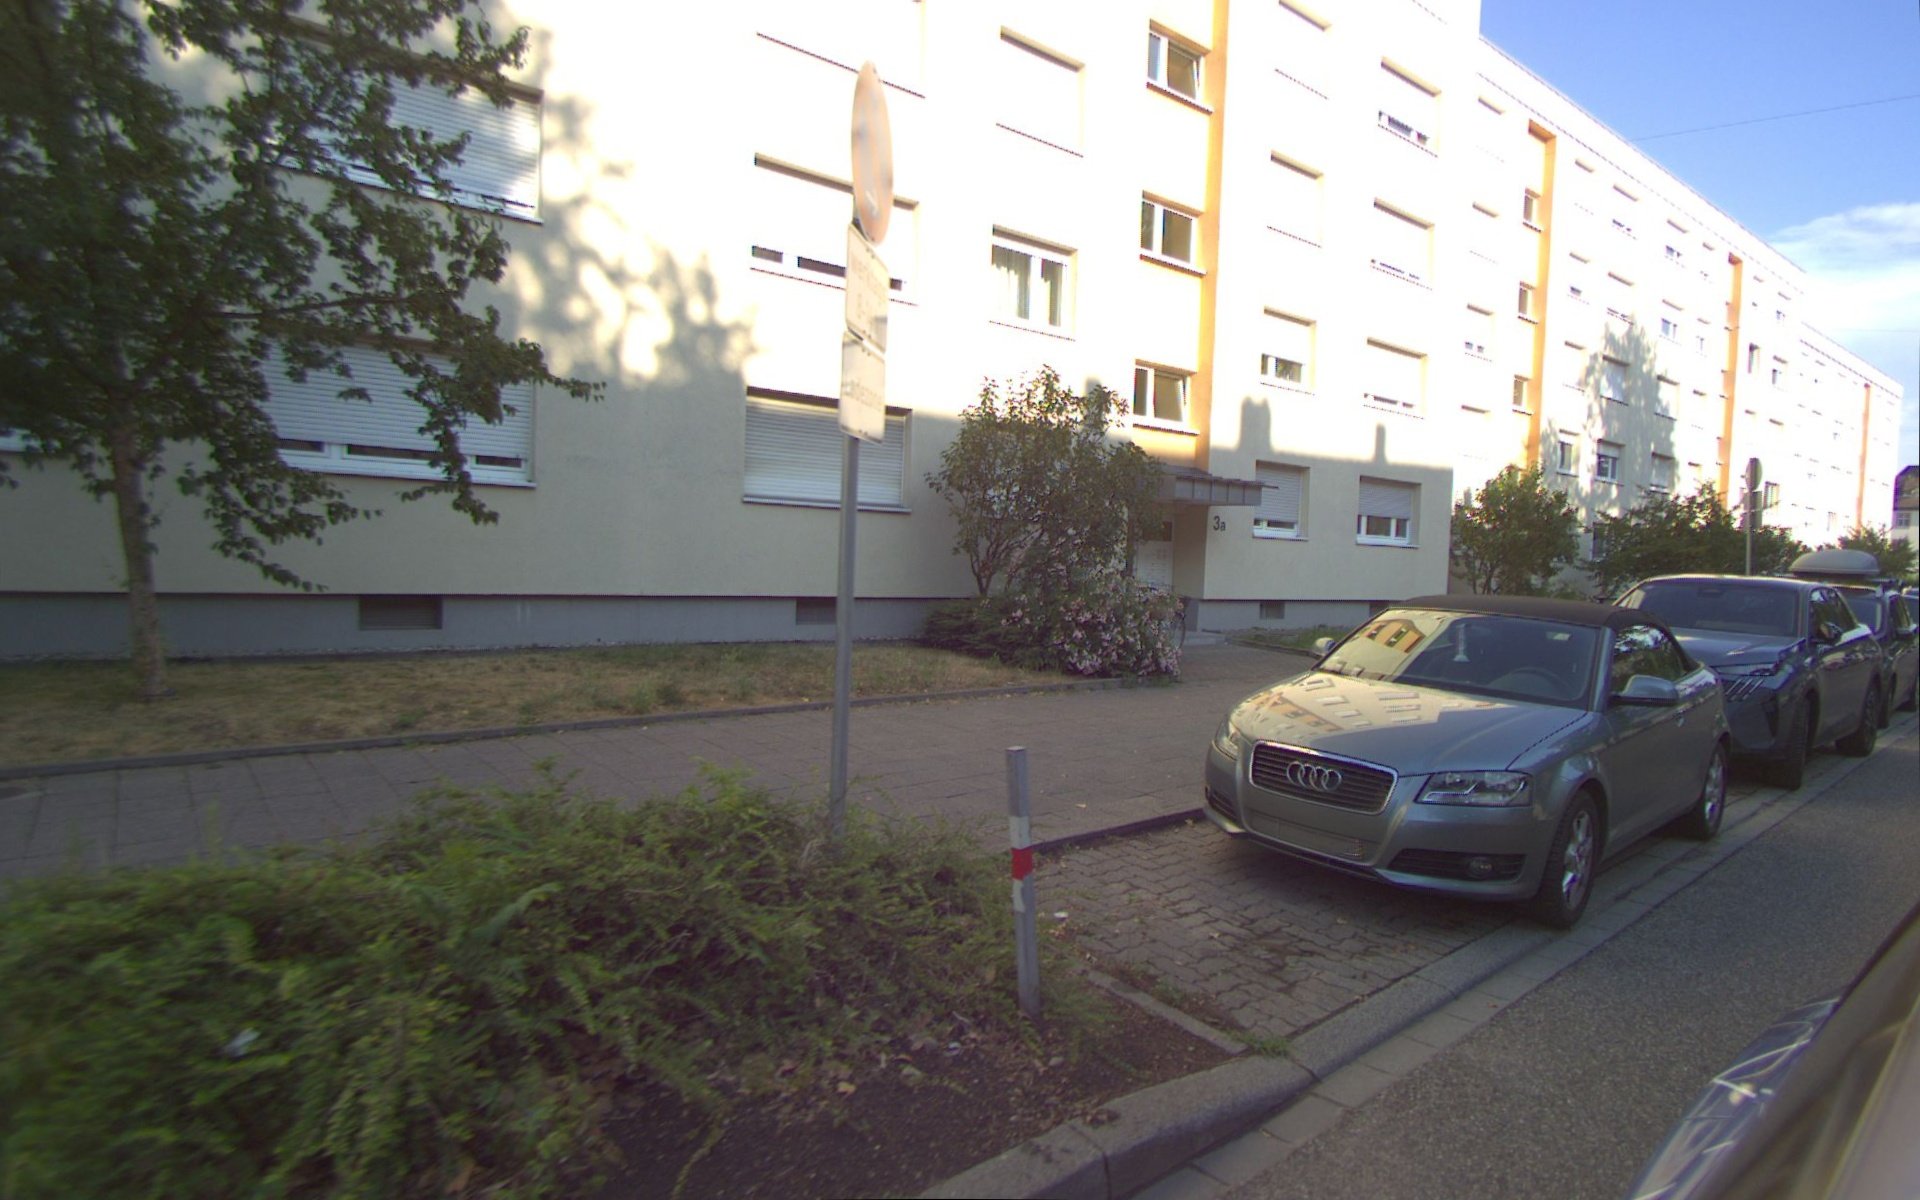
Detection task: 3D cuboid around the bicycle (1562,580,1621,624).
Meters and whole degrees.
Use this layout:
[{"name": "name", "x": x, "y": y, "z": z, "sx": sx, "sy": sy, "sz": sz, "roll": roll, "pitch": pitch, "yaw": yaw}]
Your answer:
[{"name": "bicycle", "x": 16.589, "y": 0.065, "z": 26.549, "sx": 2.351, "sy": 1.095, "sz": 0.601, "roll": 2, "pitch": 2, "yaw": -41}]

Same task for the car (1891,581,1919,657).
[{"name": "car", "x": 24.769, "y": 0.485, "z": 25.024, "sx": 4.683, "sy": 1.773, "sz": 2.026, "roll": 2, "pitch": -5, "yaw": -42}]

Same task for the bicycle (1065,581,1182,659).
[{"name": "bicycle", "x": 2.375, "y": 0.257, "z": 14.574, "sx": 1.800, "sy": 1.034, "sz": 0.614, "roll": -1, "pitch": 2, "yaw": -39}]

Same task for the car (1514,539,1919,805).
[{"name": "car", "x": 7.006, "y": 0.409, "z": 9.127, "sx": 4.597, "sy": 1.677, "sz": 1.932, "roll": -1, "pitch": 8, "yaw": -41}]

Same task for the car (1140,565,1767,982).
[{"name": "car", "x": 2.978, "y": 0.591, "z": 5.730, "sx": 3.931, "sy": 1.491, "sz": 1.745, "roll": -1, "pitch": 5, "yaw": -41}]

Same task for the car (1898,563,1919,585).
[{"name": "car", "x": 80.501, "y": -2.116, "z": 83.772, "sx": 1.965, "sy": 1.816, "sz": 3.996, "roll": -1, "pitch": 2, "yaw": -39}]

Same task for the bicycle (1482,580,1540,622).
[{"name": "bicycle", "x": 15.471, "y": 0.028, "z": 28.395, "sx": 2.351, "sy": 1.095, "sz": 0.601, "roll": 2, "pitch": 2, "yaw": -41}]

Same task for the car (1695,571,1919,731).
[{"name": "car", "x": 11.224, "y": 0.533, "z": 13.044, "sx": 4.267, "sy": 1.671, "sz": 1.901, "roll": 0, "pitch": 2, "yaw": -41}]

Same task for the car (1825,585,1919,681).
[{"name": "car", "x": 17.160, "y": 0.531, "z": 18.401, "sx": 3.972, "sy": 1.512, "sz": 1.609, "roll": -1, "pitch": 3, "yaw": -41}]

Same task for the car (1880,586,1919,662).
[{"name": "car", "x": 21.283, "y": 0.529, "z": 21.686, "sx": 4.642, "sy": 1.431, "sz": 1.684, "roll": -1, "pitch": 7, "yaw": -41}]

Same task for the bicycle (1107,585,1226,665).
[{"name": "bicycle", "x": 2.887, "y": 0.315, "z": 14.056, "sx": 1.800, "sy": 1.034, "sz": 0.614, "roll": -1, "pitch": 2, "yaw": -39}]
